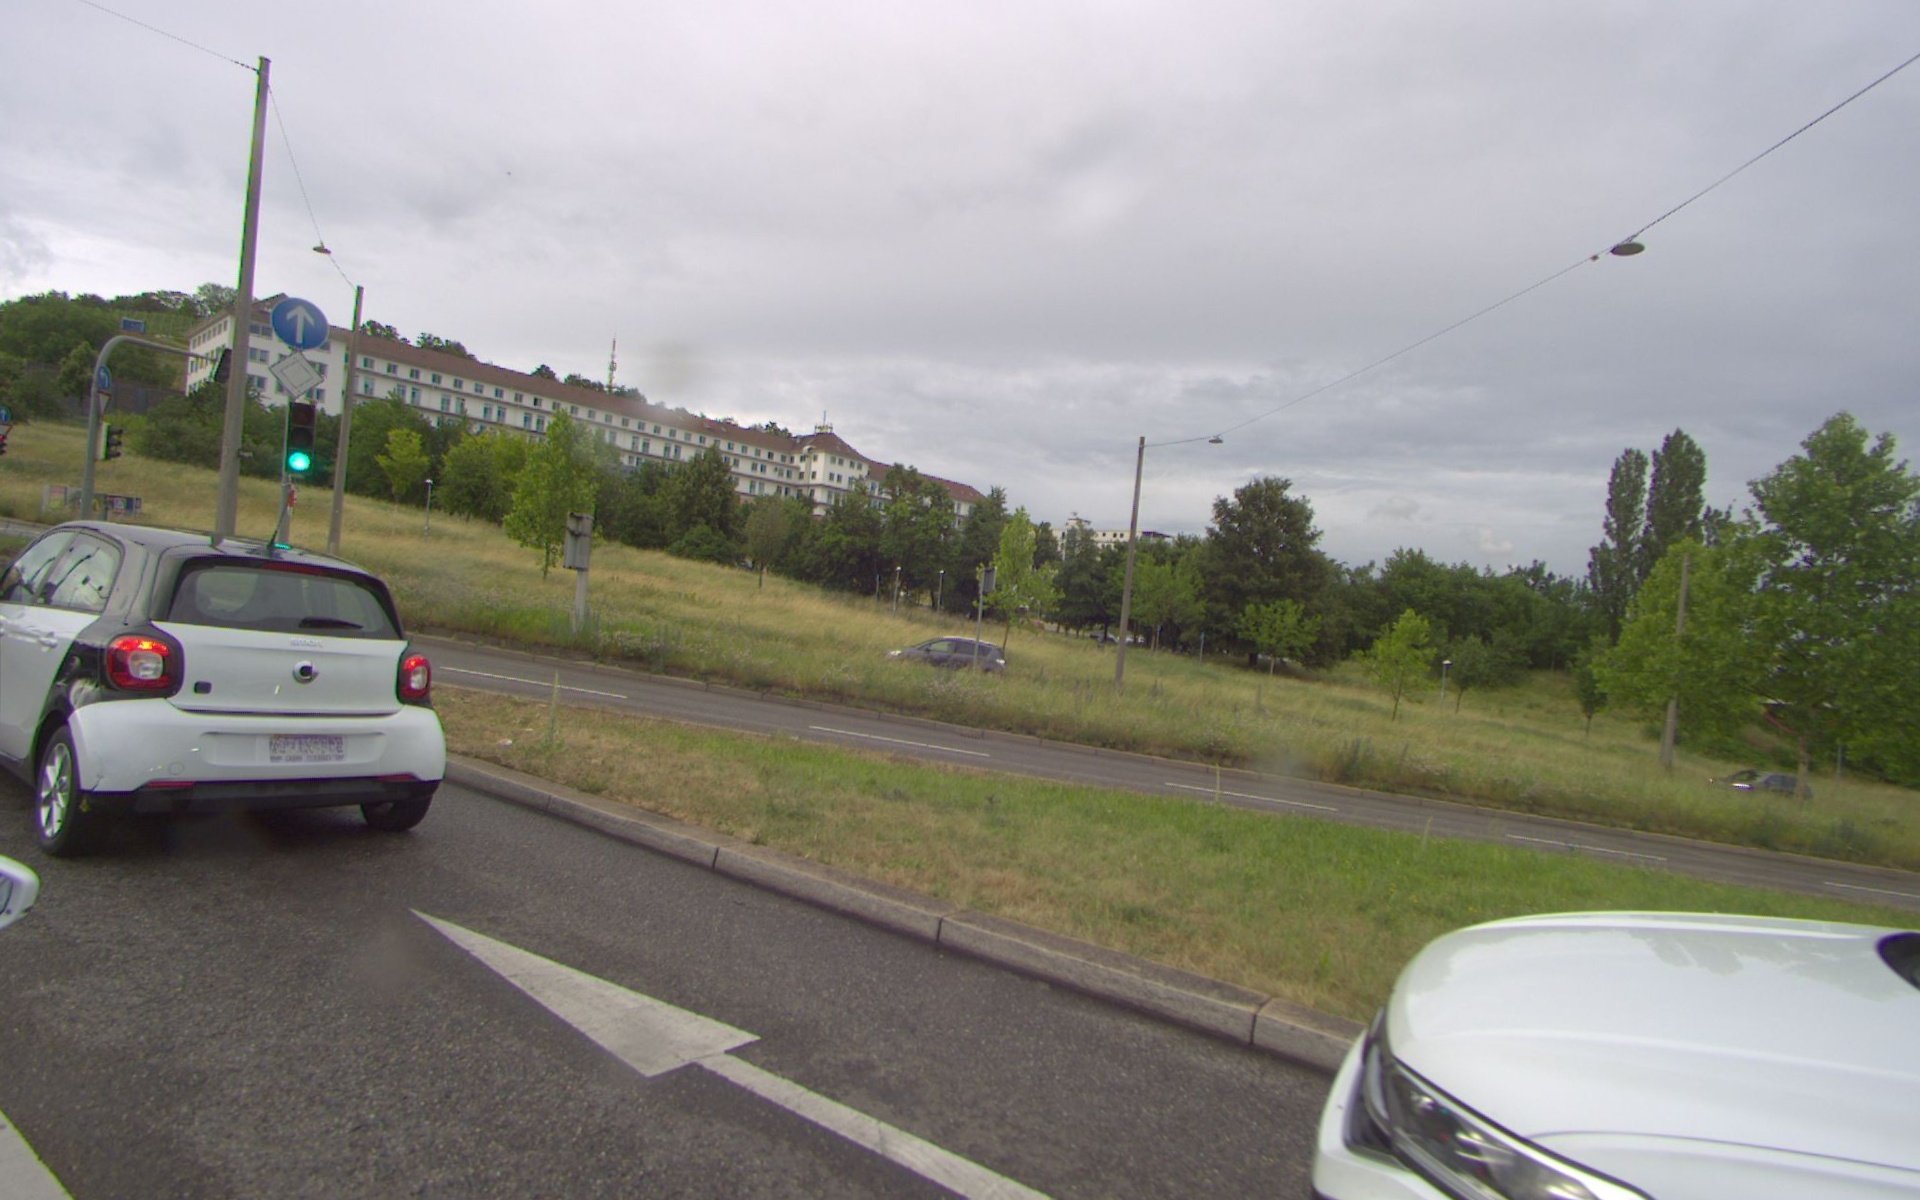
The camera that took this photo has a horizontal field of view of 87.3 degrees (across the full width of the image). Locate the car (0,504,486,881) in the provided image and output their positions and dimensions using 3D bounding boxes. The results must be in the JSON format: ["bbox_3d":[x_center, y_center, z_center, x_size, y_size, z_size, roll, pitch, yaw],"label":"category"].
[{"bbox_3d":[-4.503,0.354,5.763,3.397,1.520,1.659,5,-2,35],"label":"car"}]

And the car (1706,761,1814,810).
[{"bbox_3d":[35.069,8.140,44.099,3.901,1.424,1.597,10,-3,-14],"label":"car"}]

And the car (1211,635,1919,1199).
[{"bbox_3d":[2.597,1.081,1.265,4.157,1.571,1.717,5,-2,29],"label":"car"}]

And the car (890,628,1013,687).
[{"bbox_3d":[-0.338,1.985,35.179,3.893,1.554,1.998,7,-2,-9],"label":"car"}]
